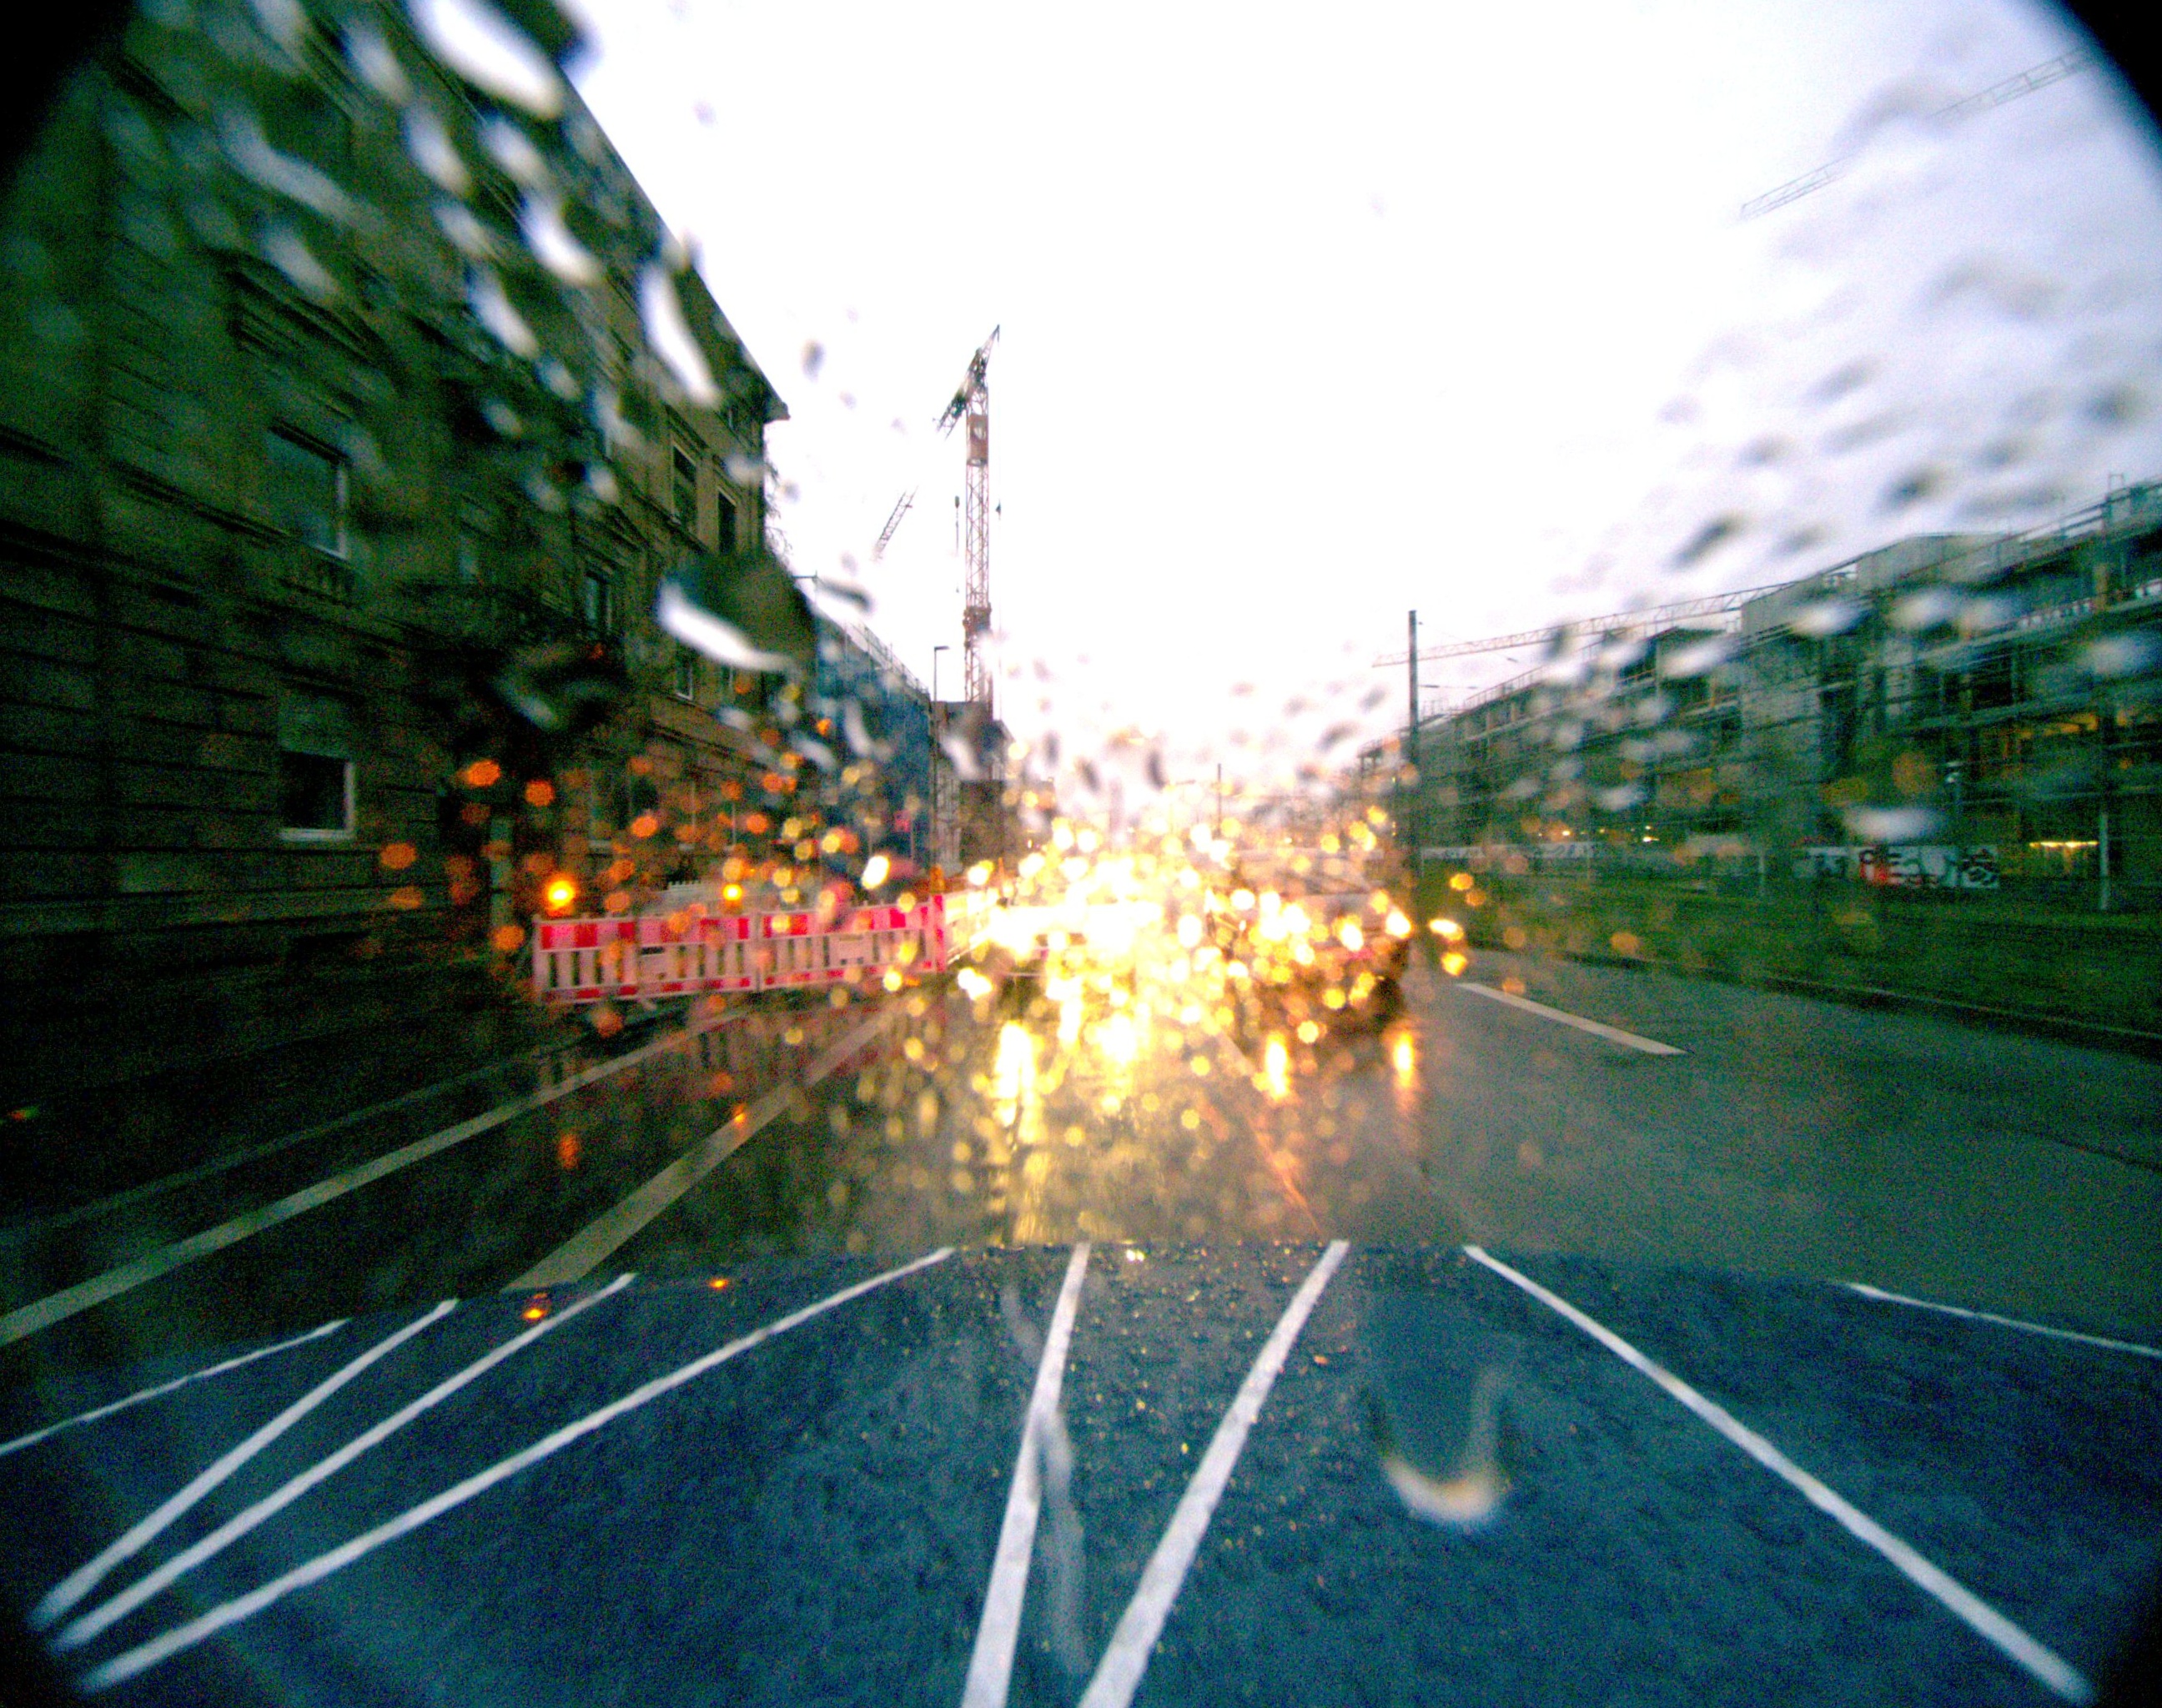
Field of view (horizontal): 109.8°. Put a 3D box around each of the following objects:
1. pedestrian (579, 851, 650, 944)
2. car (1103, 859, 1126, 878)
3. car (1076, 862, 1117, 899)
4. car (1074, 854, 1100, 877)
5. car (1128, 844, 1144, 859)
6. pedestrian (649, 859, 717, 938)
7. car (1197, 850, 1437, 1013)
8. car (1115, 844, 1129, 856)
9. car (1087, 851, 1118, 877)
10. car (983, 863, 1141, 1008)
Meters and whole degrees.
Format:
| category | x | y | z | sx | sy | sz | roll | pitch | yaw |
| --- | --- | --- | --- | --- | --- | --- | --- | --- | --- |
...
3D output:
| category | x | y | z | sx | sy | sz | roll | pitch | yaw |
| --- | --- | --- | --- | --- | --- | --- | --- | --- | --- |
| pedestrian | -8.601 | 0.786 | 14.044 | 0.870 | 1.663 | 0.707 | 0 | 0 | 2 |
| car | 2.893 | 1.226 | 65.660 | 1.769 | 1.504 | 3.899 | -2 | 1 | 0 |
| car | 0.690 | 1.198 | 35.842 | 1.769 | 1.504 | 3.899 | -2 | 1 | 0 |
| car | 0.444 | 0.784 | 55.222 | 1.769 | 1.504 | 3.899 | -2 | 1 | 0 |
| car | 6.135 | -0.300 | 85.153 | 1.768 | 1.614 | 3.900 | -2 | 1 | 4 |
| pedestrian | -7.989 | 0.876 | 15.302 | 0.870 | 1.536 | 0.929 | 0 | 0 | 1 |
| car | 2.739 | 0.804 | 9.862 | 1.815 | 1.636 | 4.135 | -1 | 0 | 0 |
| car | 5.704 | -0.559 | 104.848 | 1.768 | 1.614 | 3.900 | -2 | 1 | 4 |
| car | 1.330 | 0.597 | 48.105 | 1.769 | 1.504 | 3.899 | -2 | 1 | 0 |
| car | -0.226 | 0.957 | 10.687 | 1.769 | 1.504 | 3.899 | -2 | 1 | 0 |
